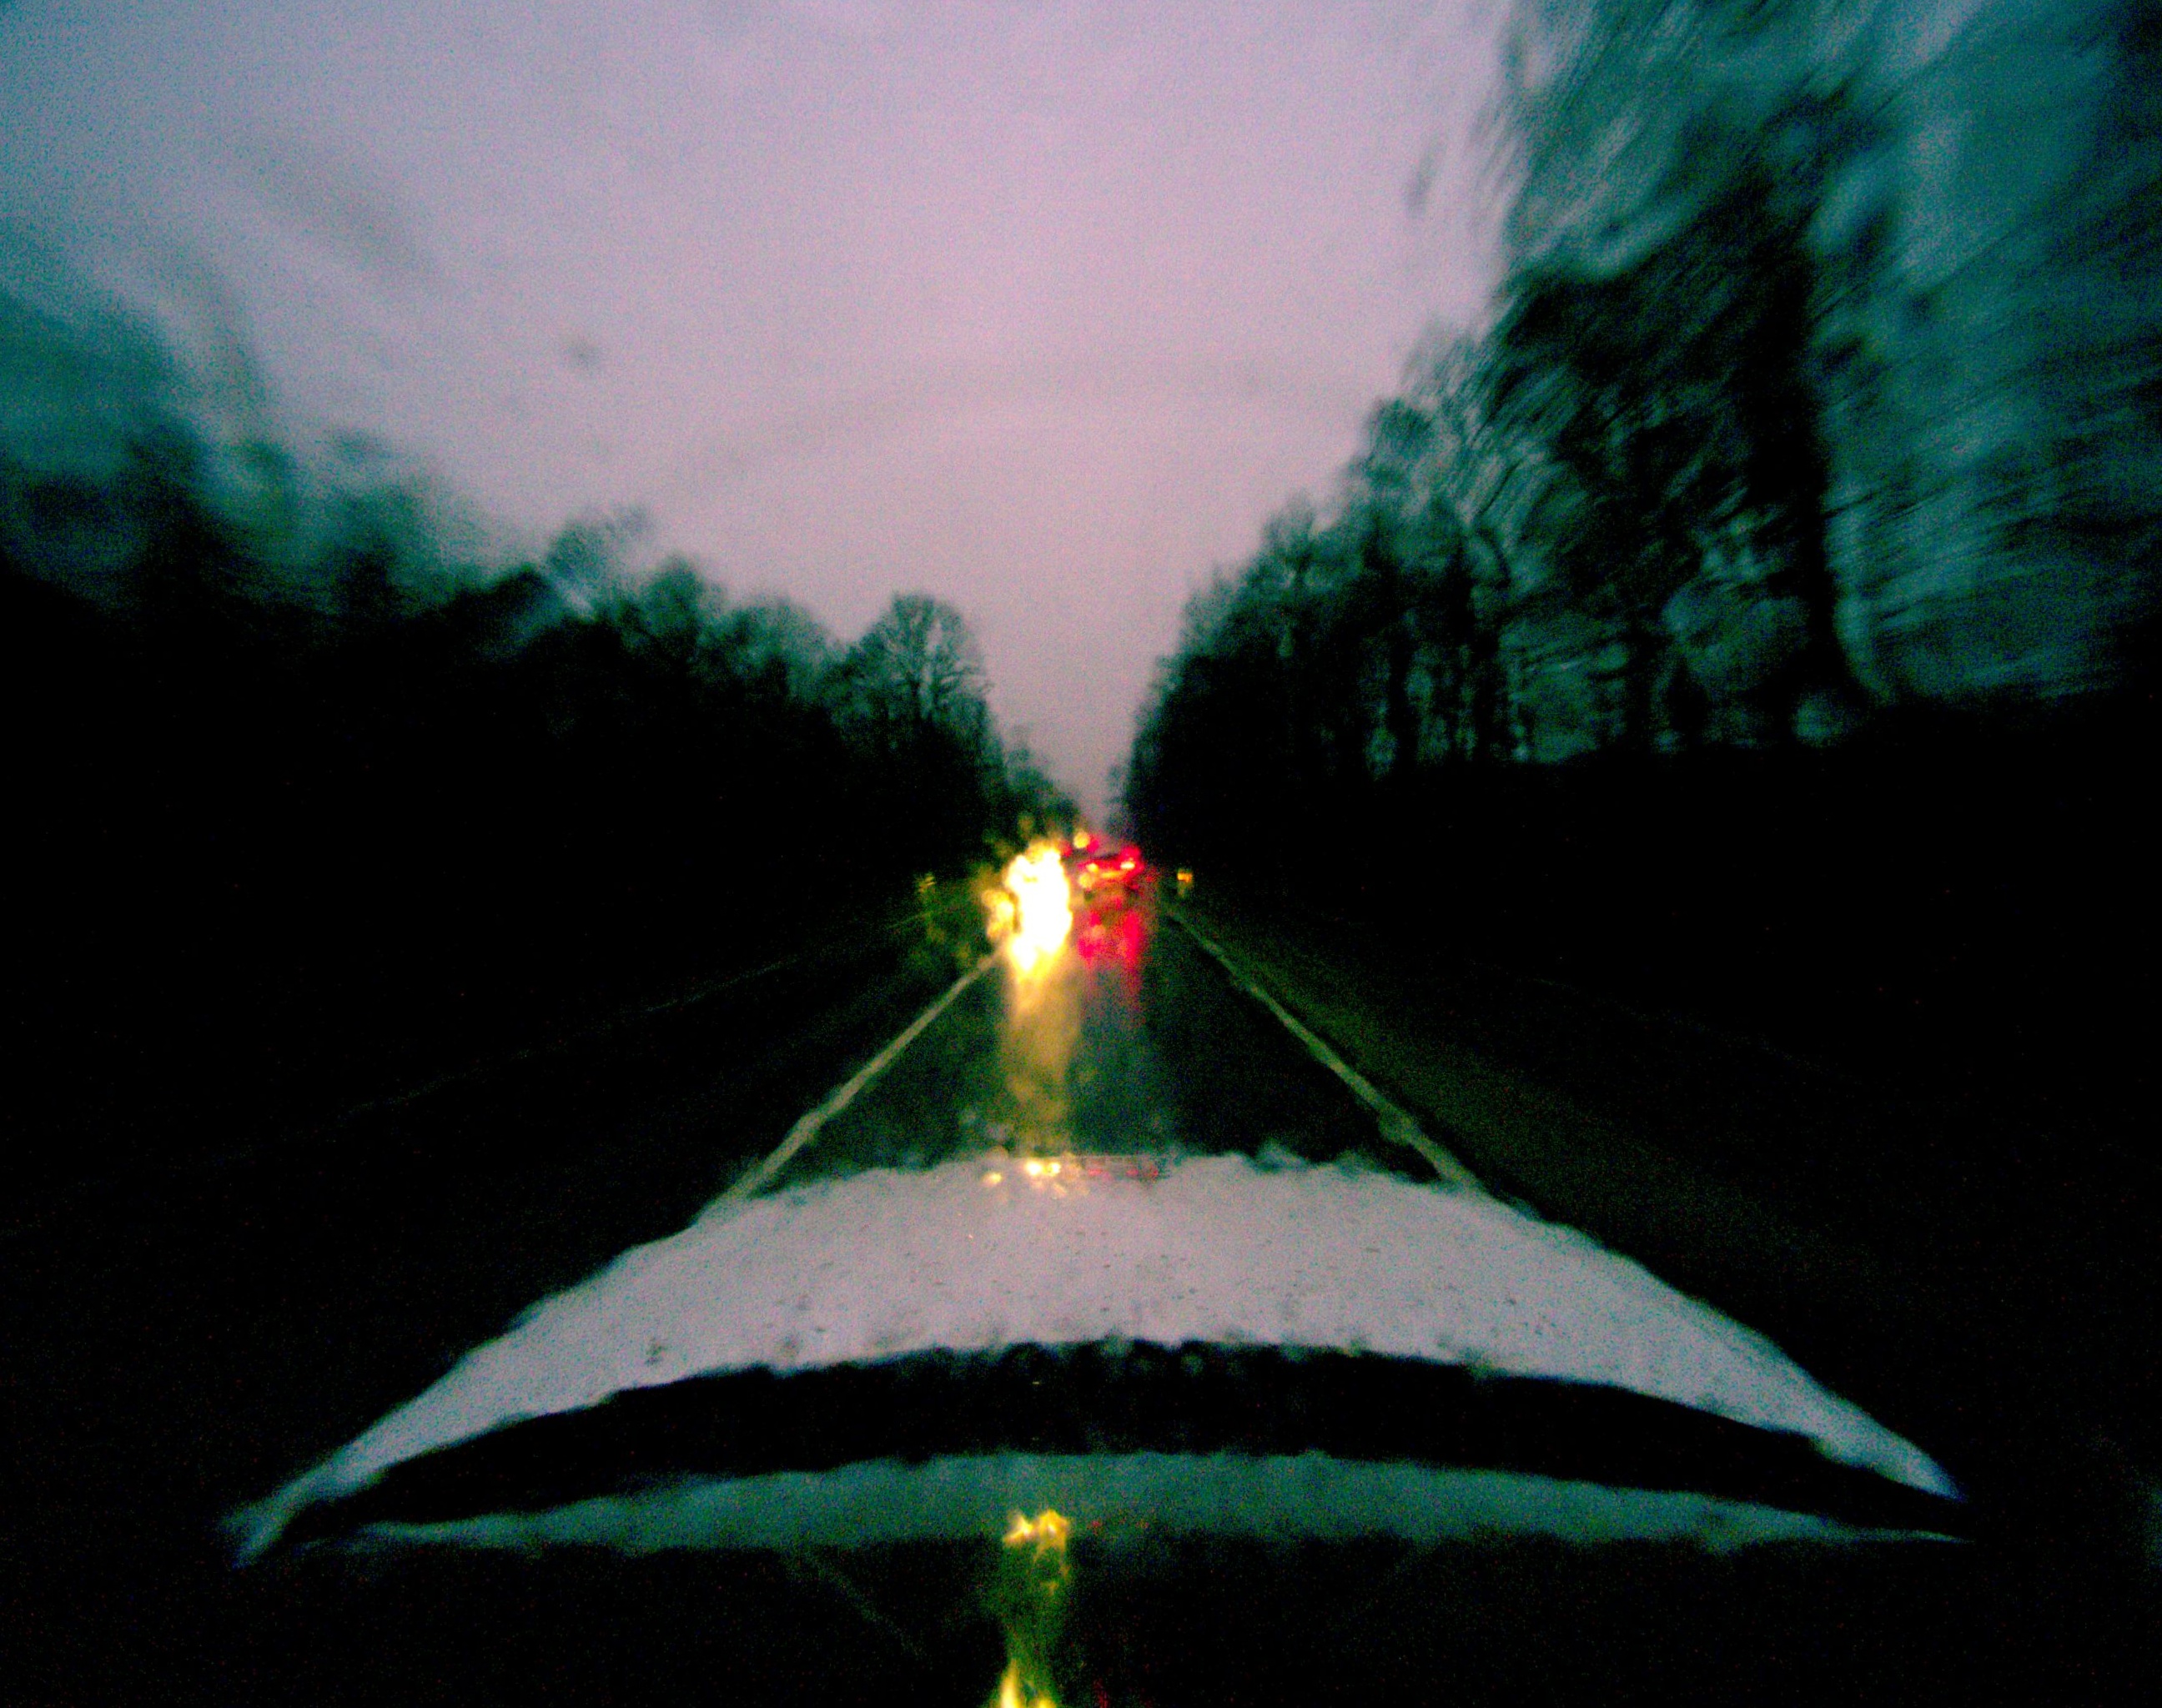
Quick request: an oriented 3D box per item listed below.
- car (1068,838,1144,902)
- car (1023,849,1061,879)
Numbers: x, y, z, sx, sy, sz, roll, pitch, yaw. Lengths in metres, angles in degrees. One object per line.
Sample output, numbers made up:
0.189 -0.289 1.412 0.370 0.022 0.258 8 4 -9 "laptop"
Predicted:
0.794 0.465 26.334 2.190 1.877 4.828 -1 0 1 "car"
-2.075 0.503 44.208 1.592 1.495 3.897 -3 0 2 "car"
